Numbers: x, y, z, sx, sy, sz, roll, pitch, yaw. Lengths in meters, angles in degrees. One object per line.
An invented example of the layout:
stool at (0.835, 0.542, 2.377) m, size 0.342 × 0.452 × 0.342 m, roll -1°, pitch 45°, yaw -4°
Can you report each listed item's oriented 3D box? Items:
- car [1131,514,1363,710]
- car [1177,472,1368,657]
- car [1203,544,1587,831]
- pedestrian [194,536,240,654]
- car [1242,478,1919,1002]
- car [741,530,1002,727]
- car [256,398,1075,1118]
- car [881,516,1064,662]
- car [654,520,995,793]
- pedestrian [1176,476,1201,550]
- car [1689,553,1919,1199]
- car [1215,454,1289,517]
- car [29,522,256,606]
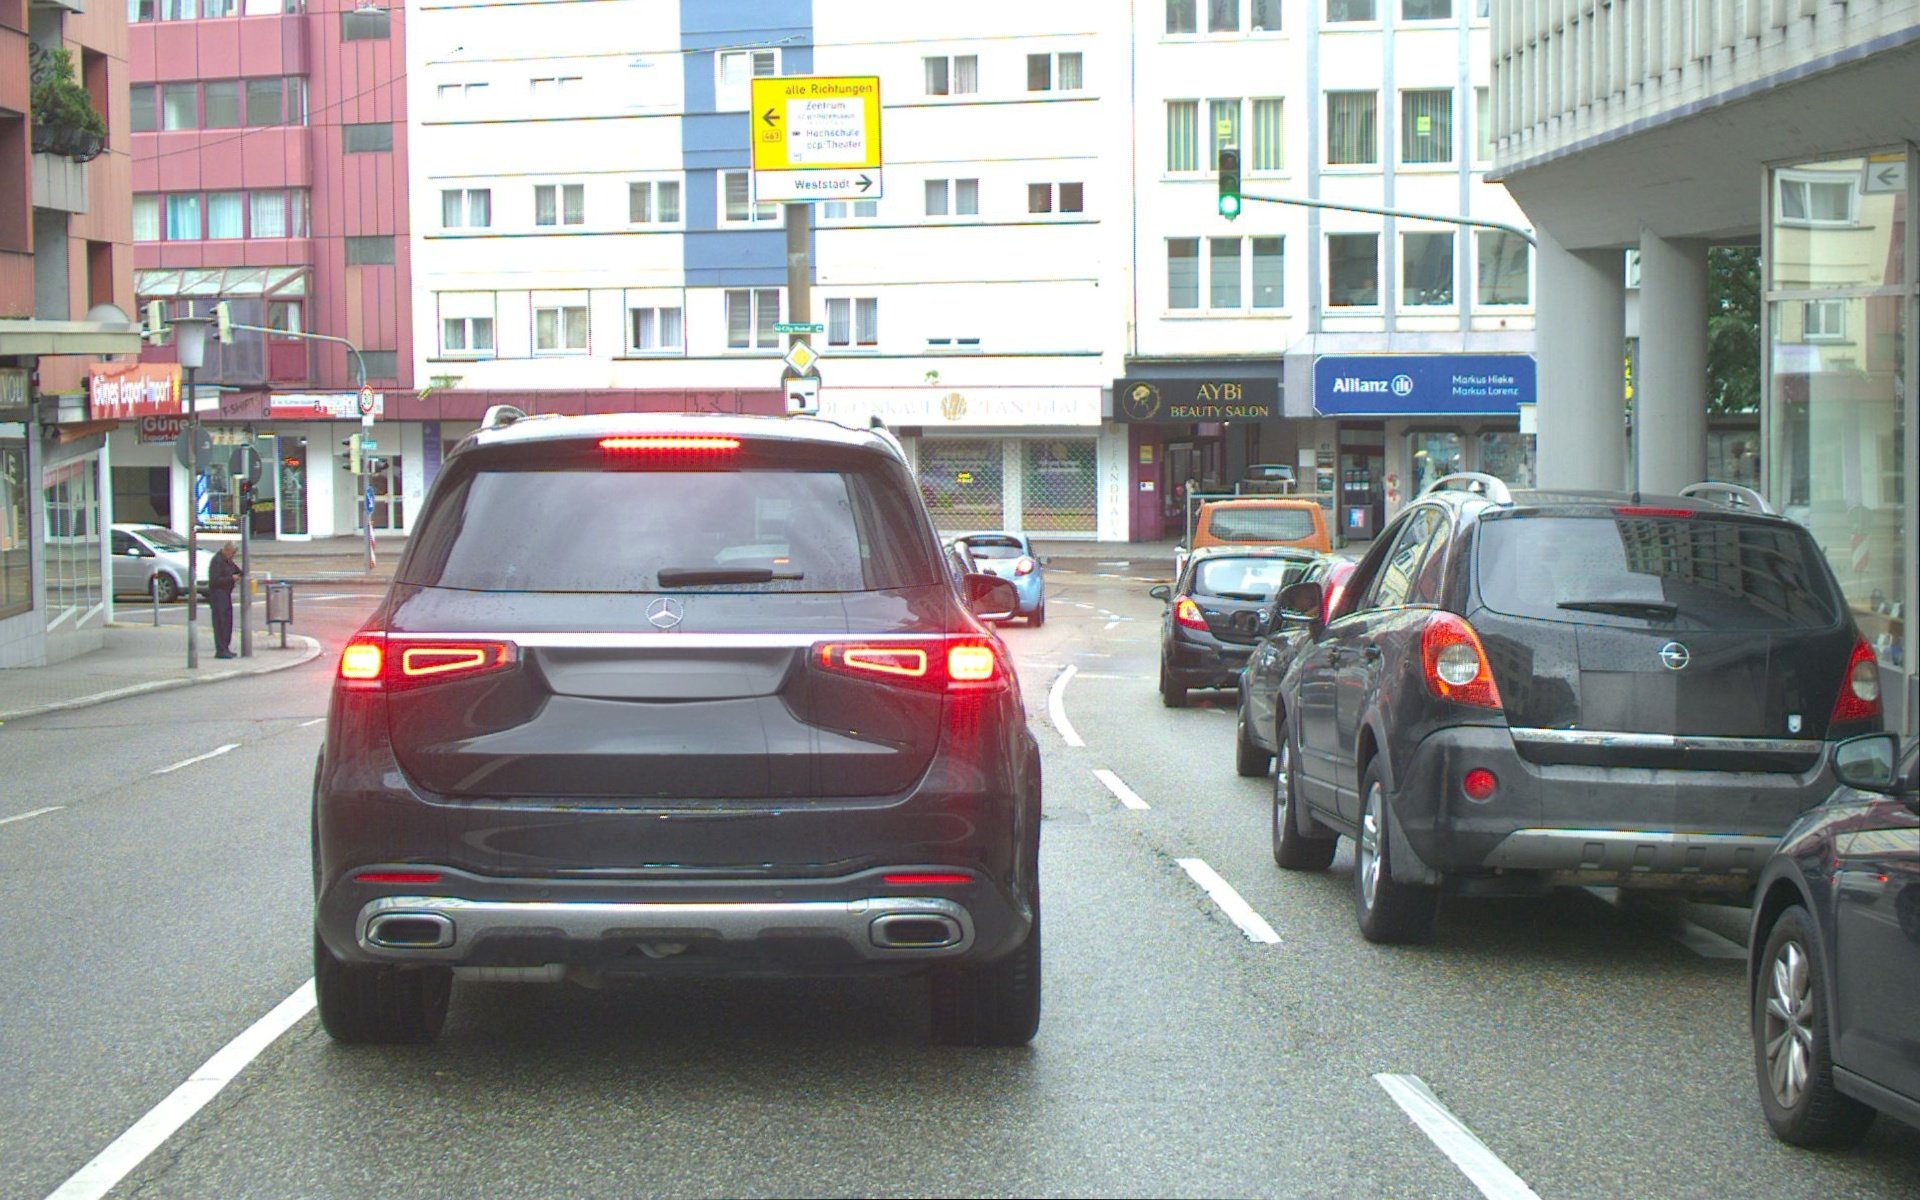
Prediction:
car at (2.597, 0.085, 32.069) m, size 1.823 × 1.653 × 4.495 m, roll 1°, pitch 0°, yaw 1°
car at (3.991, -0.481, 44.806) m, size 2.243 × 2.220 × 5.428 m, roll 1°, pitch 1°, yaw 3°
car at (2.505, 0.441, 20.698) m, size 1.767 × 1.392 × 4.000 m, roll 5°, pitch 1°, yaw 1°
pedestrian at (-10.754, -0.080, 49.742) m, size 0.554 × 1.691 × 0.624 m, roll 0°, pitch 1°, yaw -4°
car at (2.375, 0.426, 13.833) m, size 1.897 × 1.689 × 4.506 m, roll 3°, pitch 1°, yaw -2°
car at (-0.712, 0.178, 28.730) m, size 1.993 × 1.481 × 4.237 m, roll -1°, pitch 1°, yaw -1°
car at (-0.836, 0.350, 11.003) m, size 2.038 × 1.792 × 4.663 m, roll 1°, pitch 1°, yaw -2°
car at (0.101, -0.113, 39.498) m, size 1.924 × 1.510 × 4.663 m, roll 2°, pitch 0°, yaw -1°
car at (-0.843, 0.264, 21.275) m, size 1.873 × 1.489 × 4.401 m, roll 1°, pitch 1°, yaw -2°
pedestrian at (5.470, -2.085, 82.336) m, size 0.564 × 1.683 × 0.756 m, roll 0°, pitch 7°, yaw 6°
car at (2.918, 0.695, 7.258) m, size 1.688 × 1.472 × 4.001 m, roll 3°, pitch 1°, yaw -2°
car at (8.089, -3.145, 95.054) m, size 1.797 × 1.664 × 3.999 m, roll -1°, pitch 1°, yaw 8°
car at (-16.680, -0.748, 70.181) m, size 4.165 × 1.587 × 1.740 m, roll 2°, pitch 2°, yaw 15°
